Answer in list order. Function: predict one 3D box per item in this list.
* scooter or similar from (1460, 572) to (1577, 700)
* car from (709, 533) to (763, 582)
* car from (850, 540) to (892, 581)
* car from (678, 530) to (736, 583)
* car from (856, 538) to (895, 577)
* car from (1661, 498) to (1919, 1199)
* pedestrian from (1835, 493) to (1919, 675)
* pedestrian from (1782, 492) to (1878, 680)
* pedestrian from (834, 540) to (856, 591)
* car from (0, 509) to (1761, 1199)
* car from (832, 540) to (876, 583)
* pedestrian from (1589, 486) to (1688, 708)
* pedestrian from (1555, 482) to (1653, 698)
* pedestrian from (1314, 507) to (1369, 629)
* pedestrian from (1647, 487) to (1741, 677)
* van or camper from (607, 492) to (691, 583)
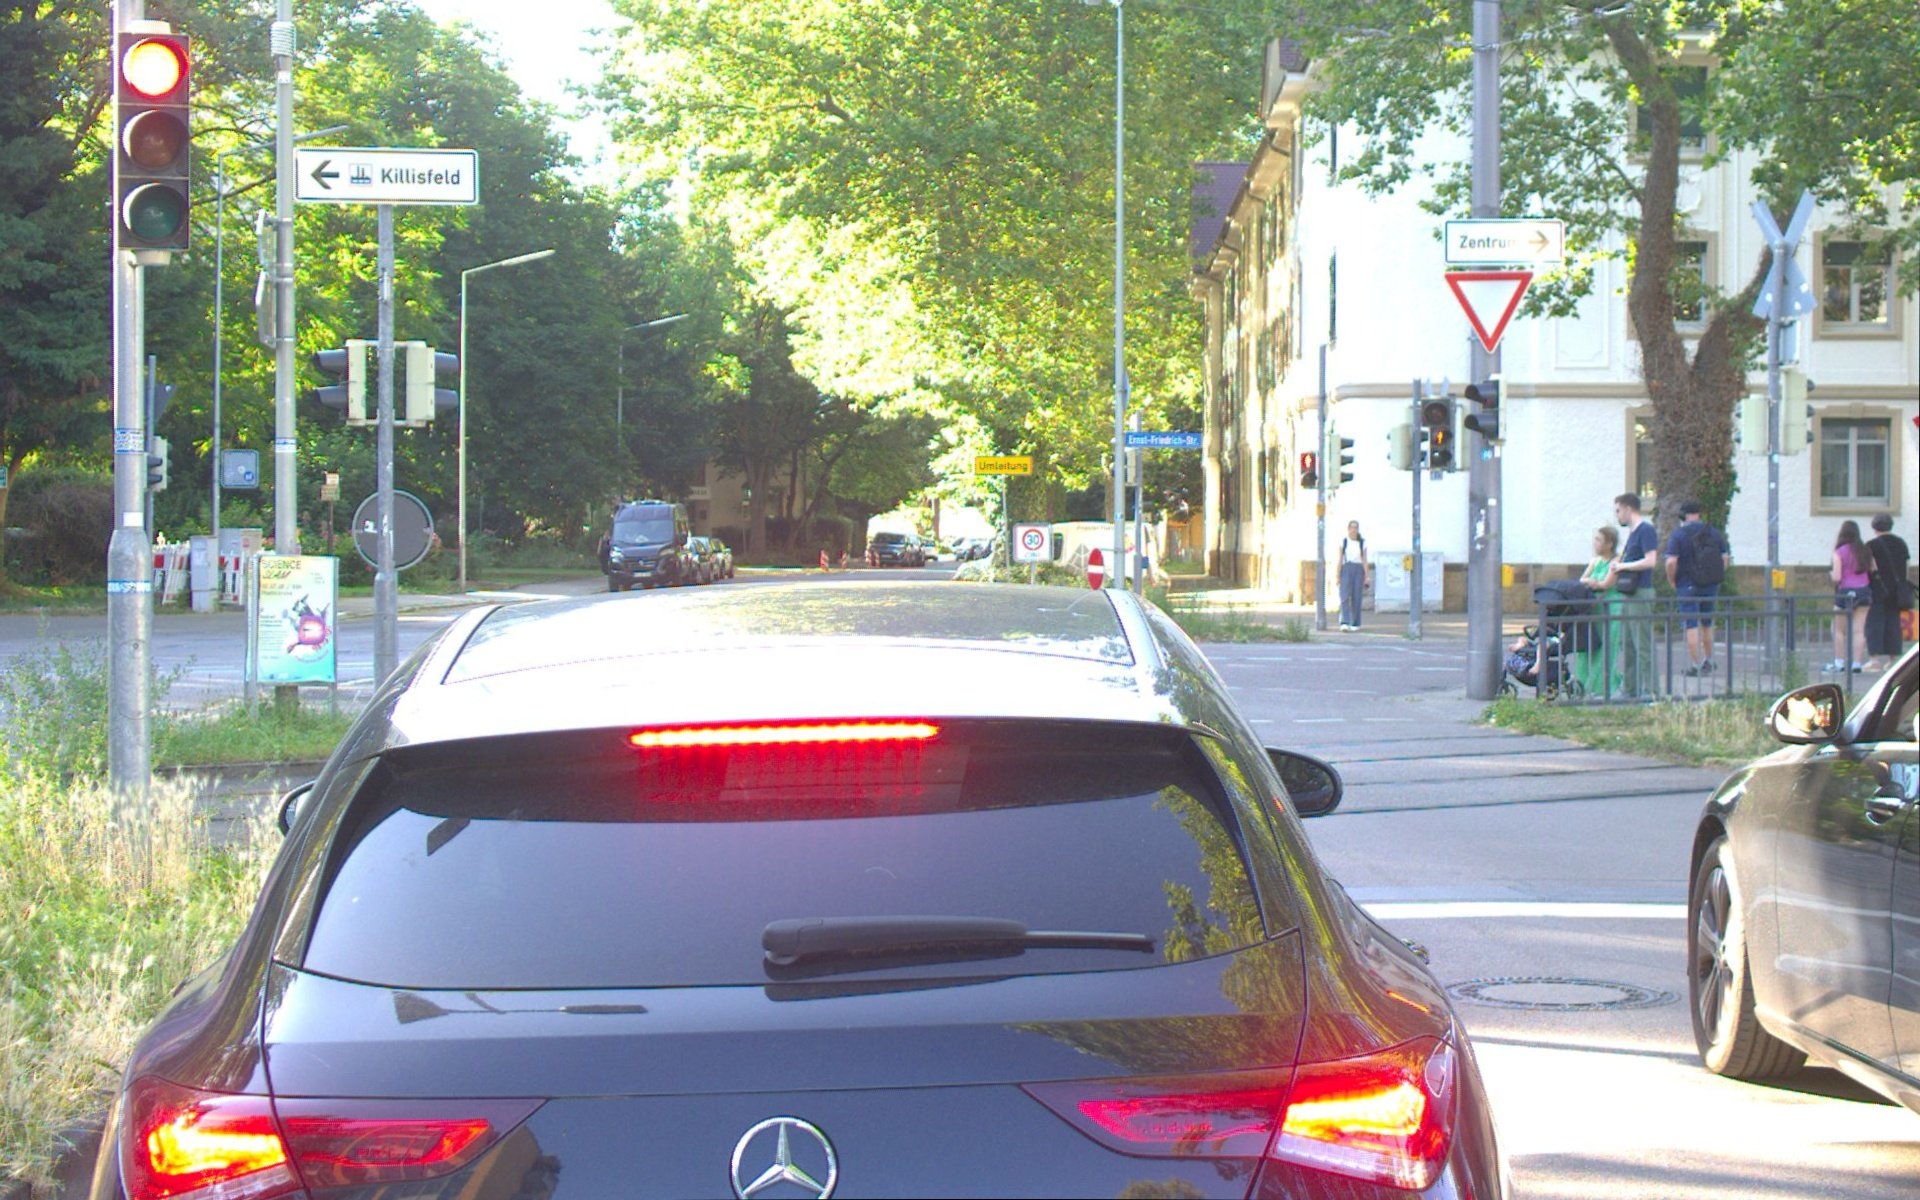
[{"bbox_3d":[4.950,0.313,30.494,0.828,1.101,0.809,1,0,-6],"label":"scooter or similar"},{"bbox_3d":[-8.223,-1.554,126.413,1.733,1.759,3.971,1,1,-1],"label":"car"},{"bbox_3d":[-3.874,-1.734,150.393,1.733,1.759,4.019,1,1,-1],"label":"car"},{"bbox_3d":[-8.610,-1.468,117.229,1.733,1.759,4.085,1,1,-1],"label":"car"},{"bbox_3d":[-3.896,-1.956,158.476,1.733,1.759,4.019,1,1,-1],"label":"car"},{"bbox_3d":[2.916,0.591,7.315,1.889,1.485,4.382,1,3,0],"label":"car"},{"bbox_3d":[9.834,-0.177,36.679,0.705,1.911,0.839,1,0,-4],"label":"pedestrian"},{"bbox_3d":[9.023,-0.148,35.679,0.705,1.911,0.839,1,0,-4],"label":"pedestrian"},{"bbox_3d":[-4.363,-1.312,130.037,0.705,1.911,0.839,1,0,-10],"label":"pedestrian"},{"bbox_3d":[-0.151,0.647,5.378,1.889,1.445,4.001,1,3,1],"label":"car"},{"bbox_3d":[-4.477,-1.634,145.573,1.733,1.759,4.019,1,1,-1],"label":"car"},{"bbox_3d":[5.943,-0.031,30.129,0.682,1.911,0.707,1,0,-2],"label":"pedestrian"},{"bbox_3d":[5.785,-0.093,30.900,0.682,1.911,0.707,1,0,-4],"label":"pedestrian"},{"bbox_3d":[6.071,-0.508,54.715,0.705,1.911,0.839,1,0,-4],"label":"pedestrian"},{"bbox_3d":[7.502,-0.185,35.166,0.705,1.911,0.839,1,0,-4],"label":"pedestrian"},{"bbox_3d":[-8.991,-1.794,99.748,1.993,2.532,4.651,1,1,0],"label":"van or camper"}]
